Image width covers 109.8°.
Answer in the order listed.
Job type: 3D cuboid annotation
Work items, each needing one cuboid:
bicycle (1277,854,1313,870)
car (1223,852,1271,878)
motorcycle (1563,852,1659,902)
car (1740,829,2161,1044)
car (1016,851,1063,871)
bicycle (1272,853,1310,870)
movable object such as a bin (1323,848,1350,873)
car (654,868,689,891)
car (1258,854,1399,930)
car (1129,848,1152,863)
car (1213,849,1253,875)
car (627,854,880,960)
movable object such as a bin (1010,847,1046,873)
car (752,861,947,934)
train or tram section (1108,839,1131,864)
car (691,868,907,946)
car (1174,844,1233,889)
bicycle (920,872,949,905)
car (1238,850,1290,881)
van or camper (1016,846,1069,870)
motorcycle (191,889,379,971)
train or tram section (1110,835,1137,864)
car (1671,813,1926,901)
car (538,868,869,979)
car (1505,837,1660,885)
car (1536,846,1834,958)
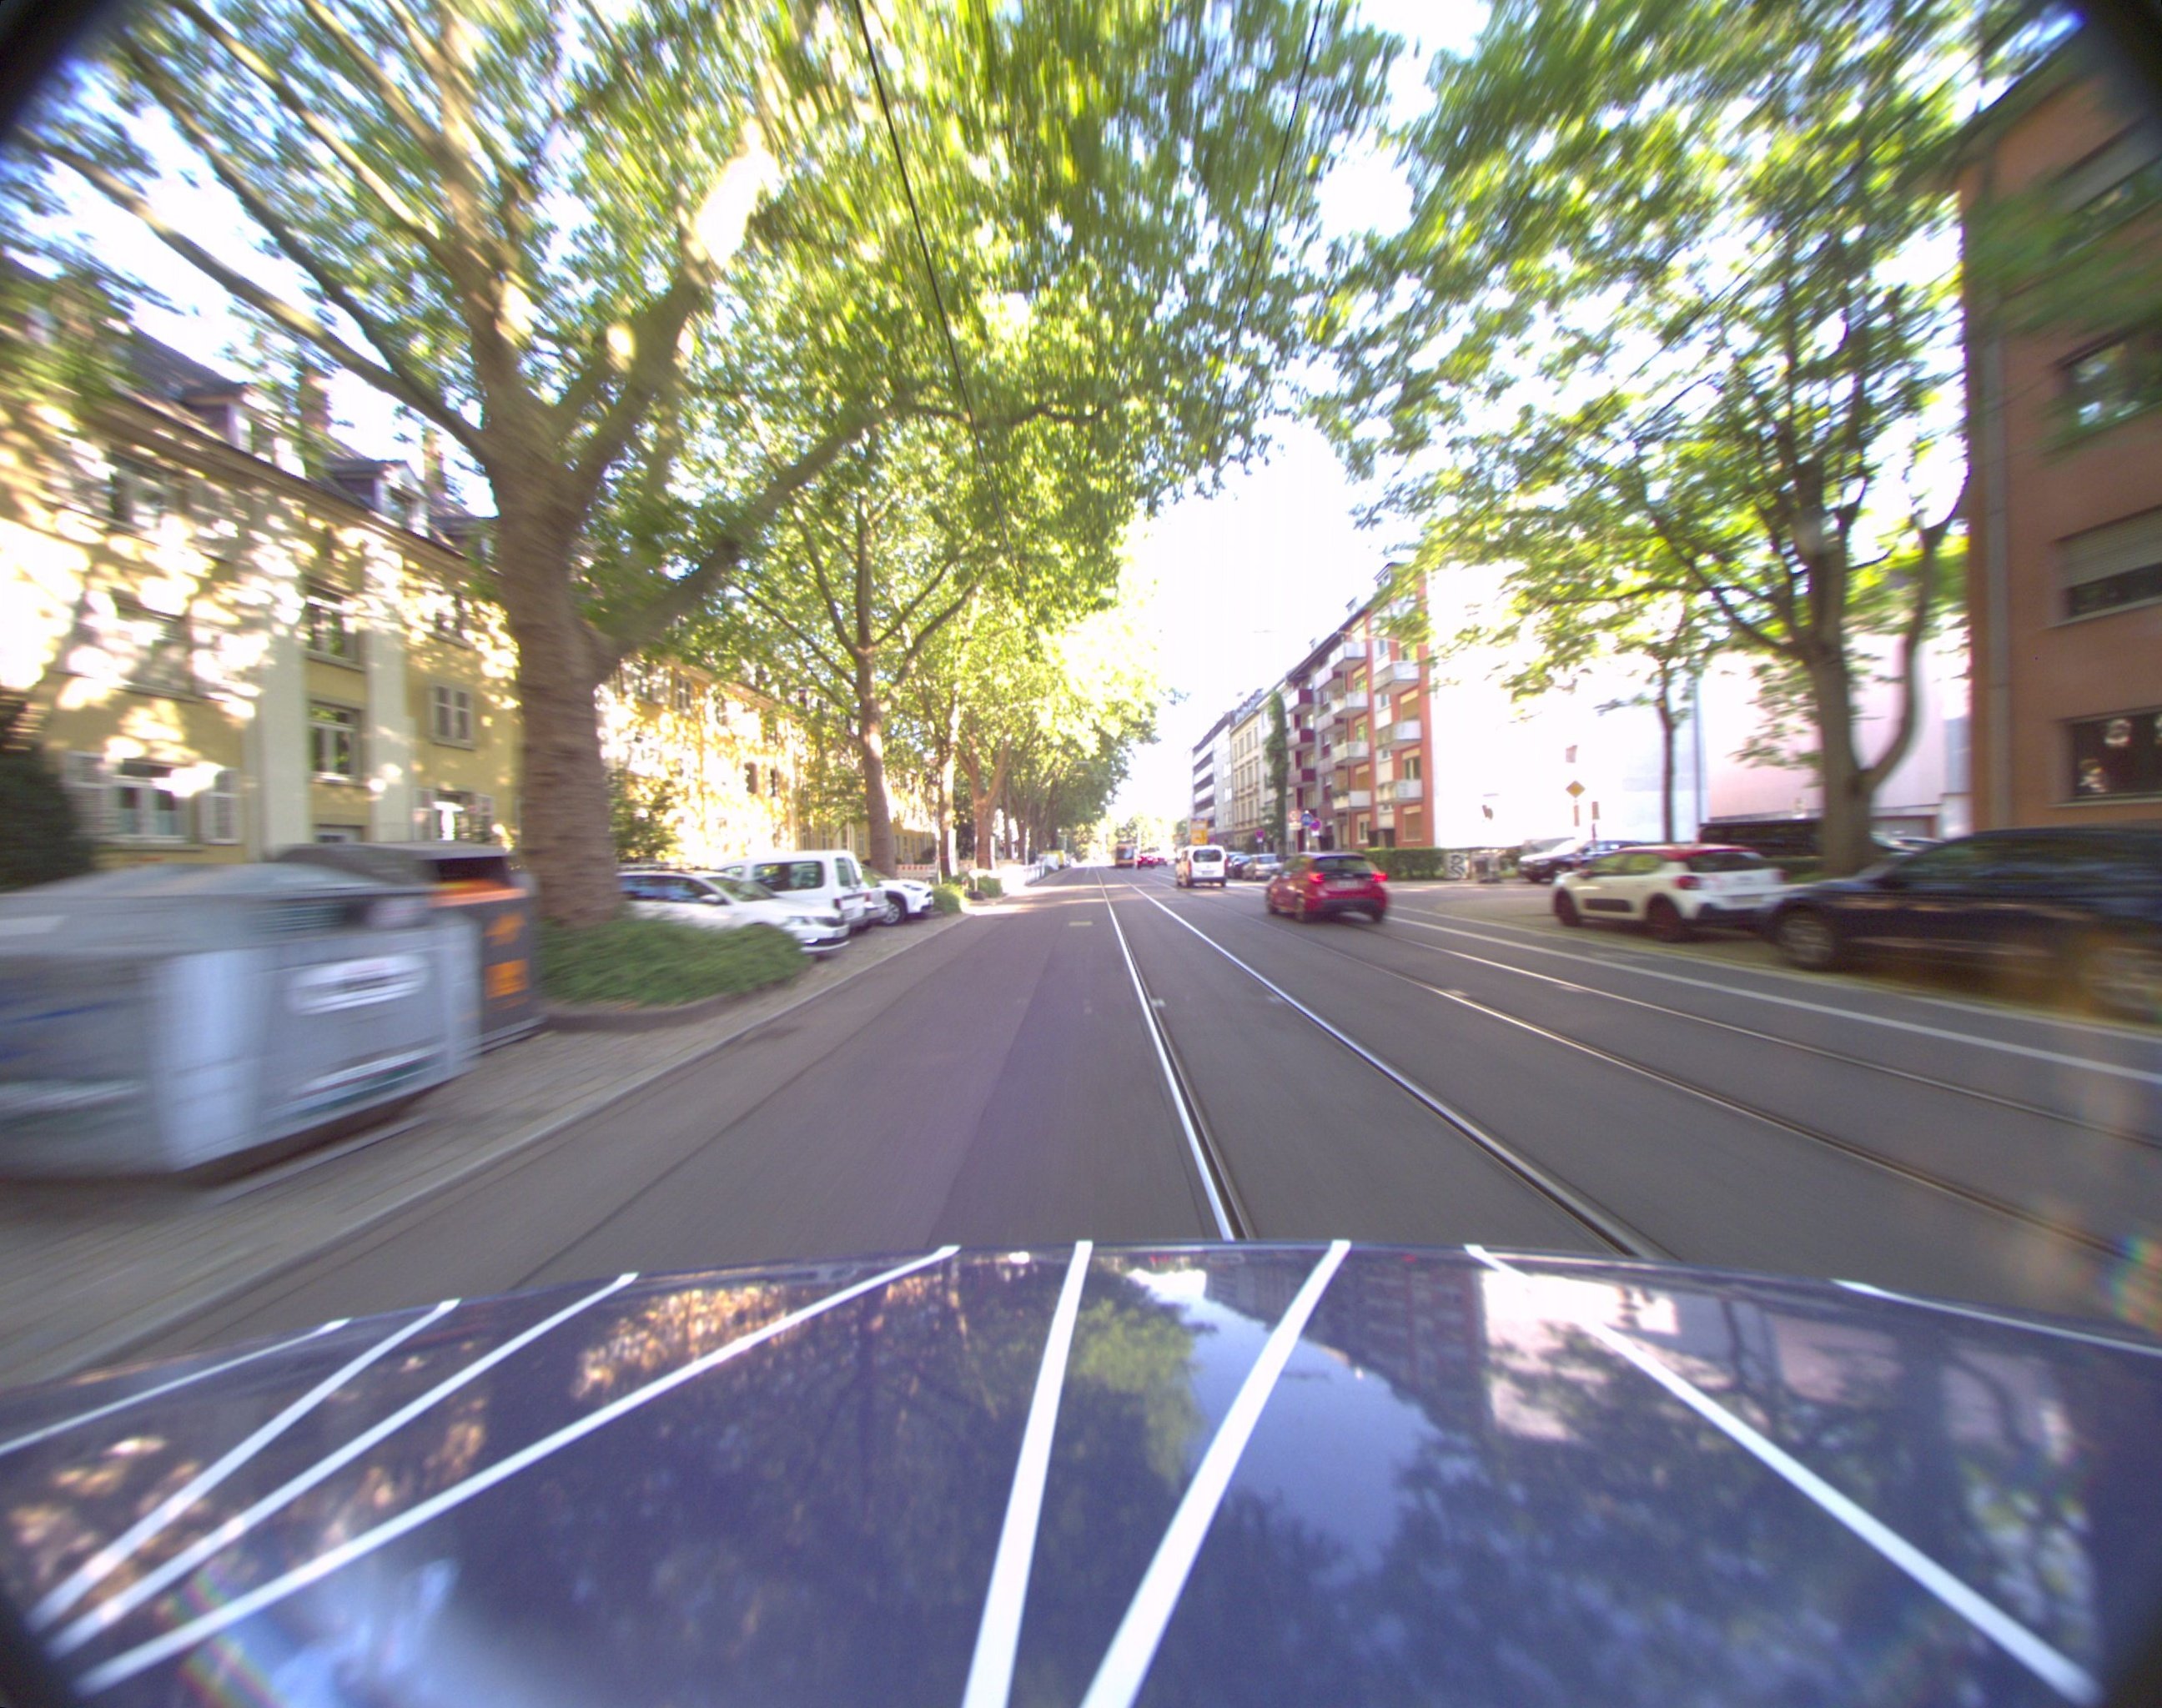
[{"bbox_3d":[15.218,0.547,54.002,2.295,0.987,0.699,-4,1,-2],"label":"bicycle"},{"bbox_3d":[10.083,0.651,46.487,1.957,1.387,4.863,-4,0,2],"label":"car"},{"bbox_3d":[14.444,0.634,20.804,0.904,1.273,2.349,-1,-2,-1],"label":"motorcycle"},{"bbox_3d":[9.387,0.634,7.434,1.785,1.601,4.587,-5,0,0],"label":"car"},{"bbox_3d":[-4.322,0.698,79.709,4.847,2.001,2.063,-1,0,1],"label":"car"},{"bbox_3d":[15.240,0.522,55.152,2.457,1.056,0.699,-3,1,-2],"label":"bicycle"},{"bbox_3d":[13.954,0.353,41.464,1.214,1.357,0.747,-1,1,2],"label":"movable object such as a bin"},{"bbox_3d":[-16.146,1.002,29.979,0.446,0.847,1.574,-4,0,2],"label":"car"},{"bbox_3d":[5.287,0.735,16.831,1.780,1.449,4.202,0,0,1],"label":"car"},{"bbox_3d":[6.702,0.154,86.370,1.858,1.591,4.462,-2,0,-5],"label":"car"},{"bbox_3d":[10.300,0.535,51.729,1.824,1.577,4.005,-3,0,-1],"label":"car"},{"bbox_3d":[-6.014,0.945,14.258,3.852,1.761,1.917,-2,1,5],"label":"car"},{"bbox_3d":[-4.822,0.545,69.547,1.482,2.256,3.283,-1,0,34],"label":"movable object such as a bin"},{"bbox_3d":[-5.521,1.012,18.532,4.098,1.512,1.916,-2,1,0],"label":"car"},{"bbox_3d":[5.786,-0.379,115.193,2.916,3.465,13.369,-2,0,1],"label":"train or tram section"},{"bbox_3d":[-5.916,1.091,16.221,3.852,1.424,1.852,-2,0,5],"label":"car"},{"bbox_3d":[5.439,0.504,34.317,1.896,1.821,4.895,-2,0,1],"label":"car"},{"bbox_3d":[-5.225,1.221,27.237,0.637,1.064,1.809,-2,0,1],"label":"bicycle"},{"bbox_3d":[9.845,0.576,41.155,1.729,1.474,3.930,-4,0,0],"label":"car"},{"bbox_3d":[-4.437,0.424,89.295,5.939,2.614,2.270,-1,1,3],"label":"van or camper"},{"bbox_3d":[-13.217,1.216,12.743,0.717,1.146,2.264,-1,0,1],"label":"motorcycle"},{"bbox_3d":[5.585,-0.534,101.348,2.916,3.465,14.198,-2,0,1],"label":"train or tram section"},{"bbox_3d":[19.589,0.071,21.039,2.003,2.111,4.713,-3,1,-27],"label":"car"},{"bbox_3d":[-5.848,1.051,12.093,4.380,1.533,1.802,-2,0,5],"label":"car"},{"bbox_3d":[18.768,0.221,28.573,4.544,1.597,1.937,-2,2,1],"label":"car"},{"bbox_3d":[9.818,0.667,12.859,1.810,1.469,4.090,-4,0,2],"label":"car"}]
